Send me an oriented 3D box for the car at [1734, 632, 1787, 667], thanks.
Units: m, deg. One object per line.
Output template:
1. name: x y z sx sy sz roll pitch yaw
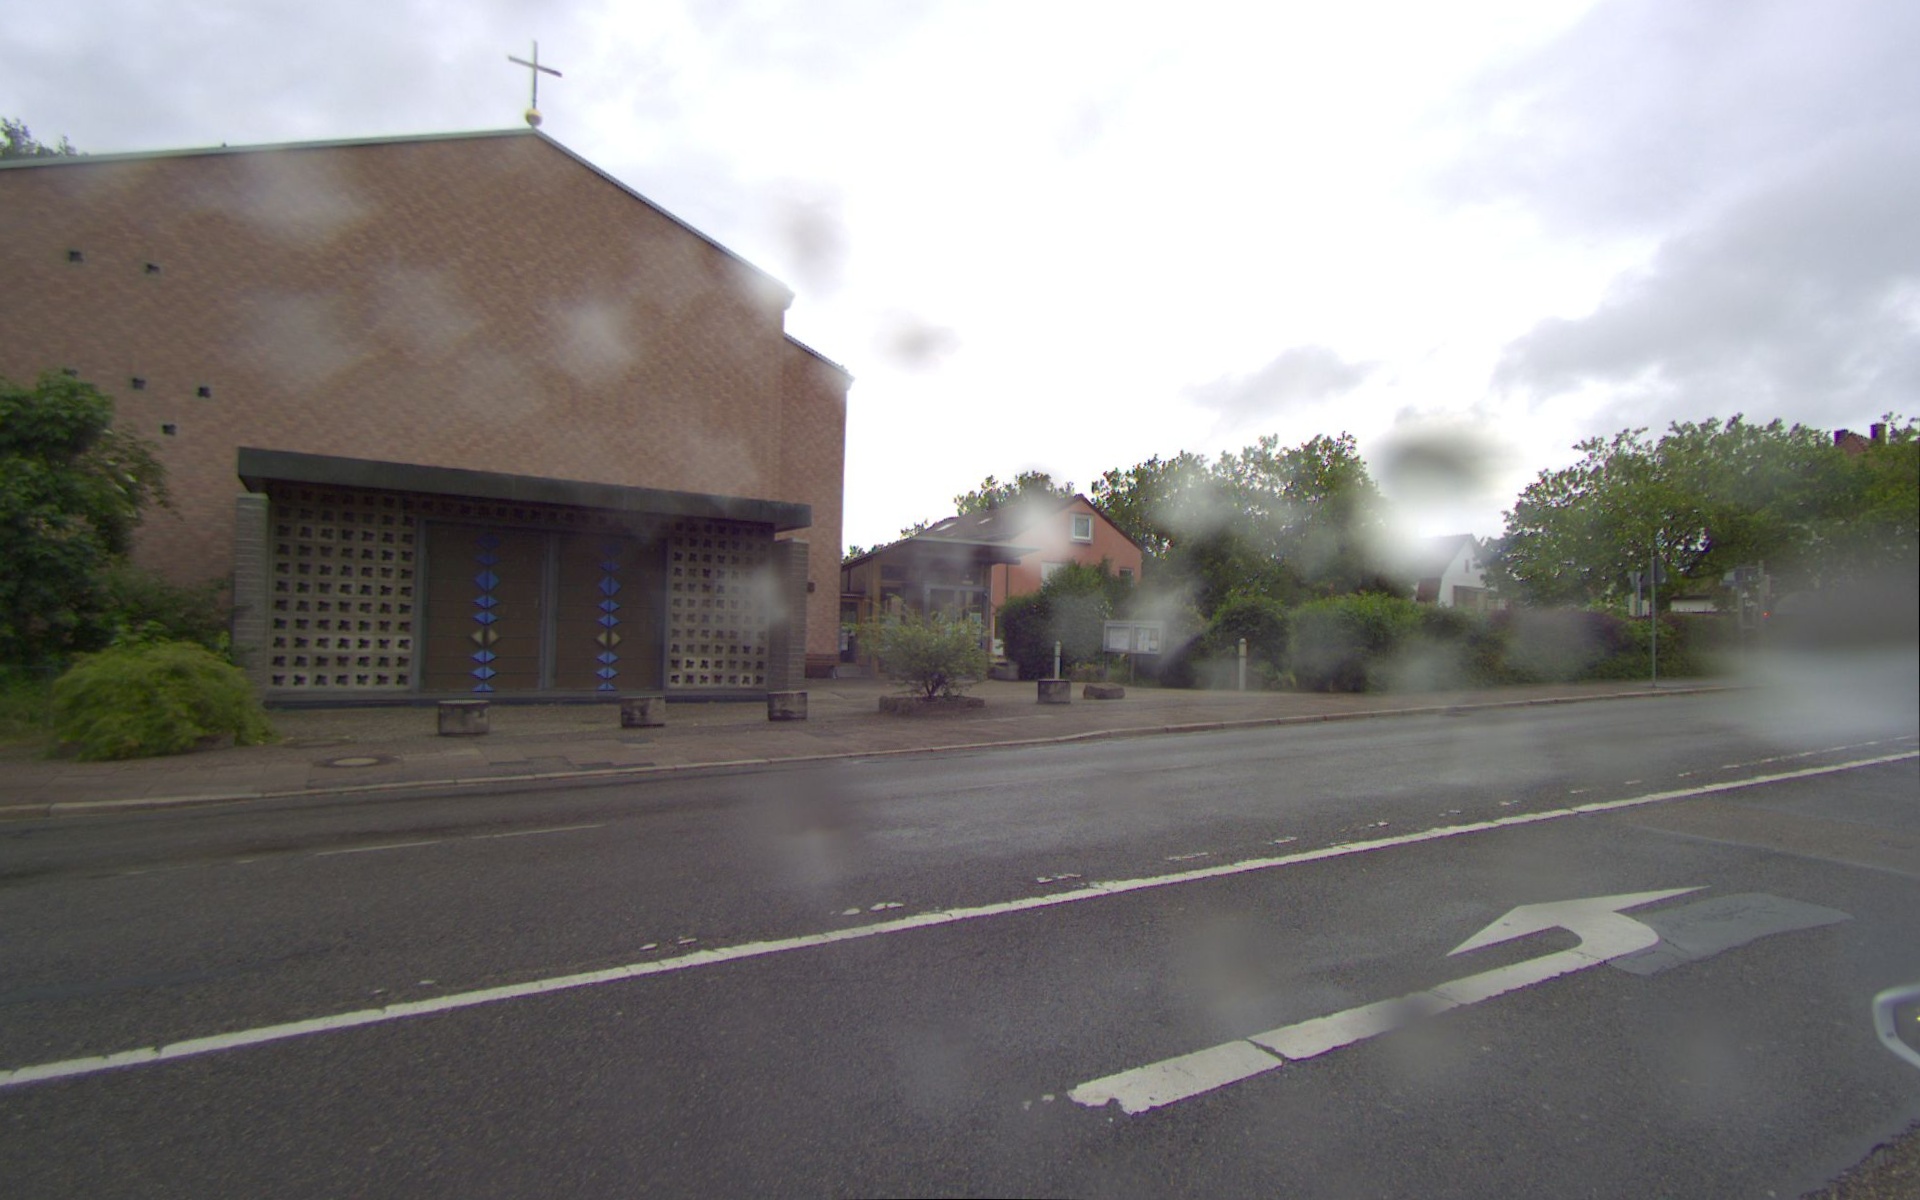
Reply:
1. car: 39.406 2.384 49.513 1.969 1.572 3.983 0 -1 38
